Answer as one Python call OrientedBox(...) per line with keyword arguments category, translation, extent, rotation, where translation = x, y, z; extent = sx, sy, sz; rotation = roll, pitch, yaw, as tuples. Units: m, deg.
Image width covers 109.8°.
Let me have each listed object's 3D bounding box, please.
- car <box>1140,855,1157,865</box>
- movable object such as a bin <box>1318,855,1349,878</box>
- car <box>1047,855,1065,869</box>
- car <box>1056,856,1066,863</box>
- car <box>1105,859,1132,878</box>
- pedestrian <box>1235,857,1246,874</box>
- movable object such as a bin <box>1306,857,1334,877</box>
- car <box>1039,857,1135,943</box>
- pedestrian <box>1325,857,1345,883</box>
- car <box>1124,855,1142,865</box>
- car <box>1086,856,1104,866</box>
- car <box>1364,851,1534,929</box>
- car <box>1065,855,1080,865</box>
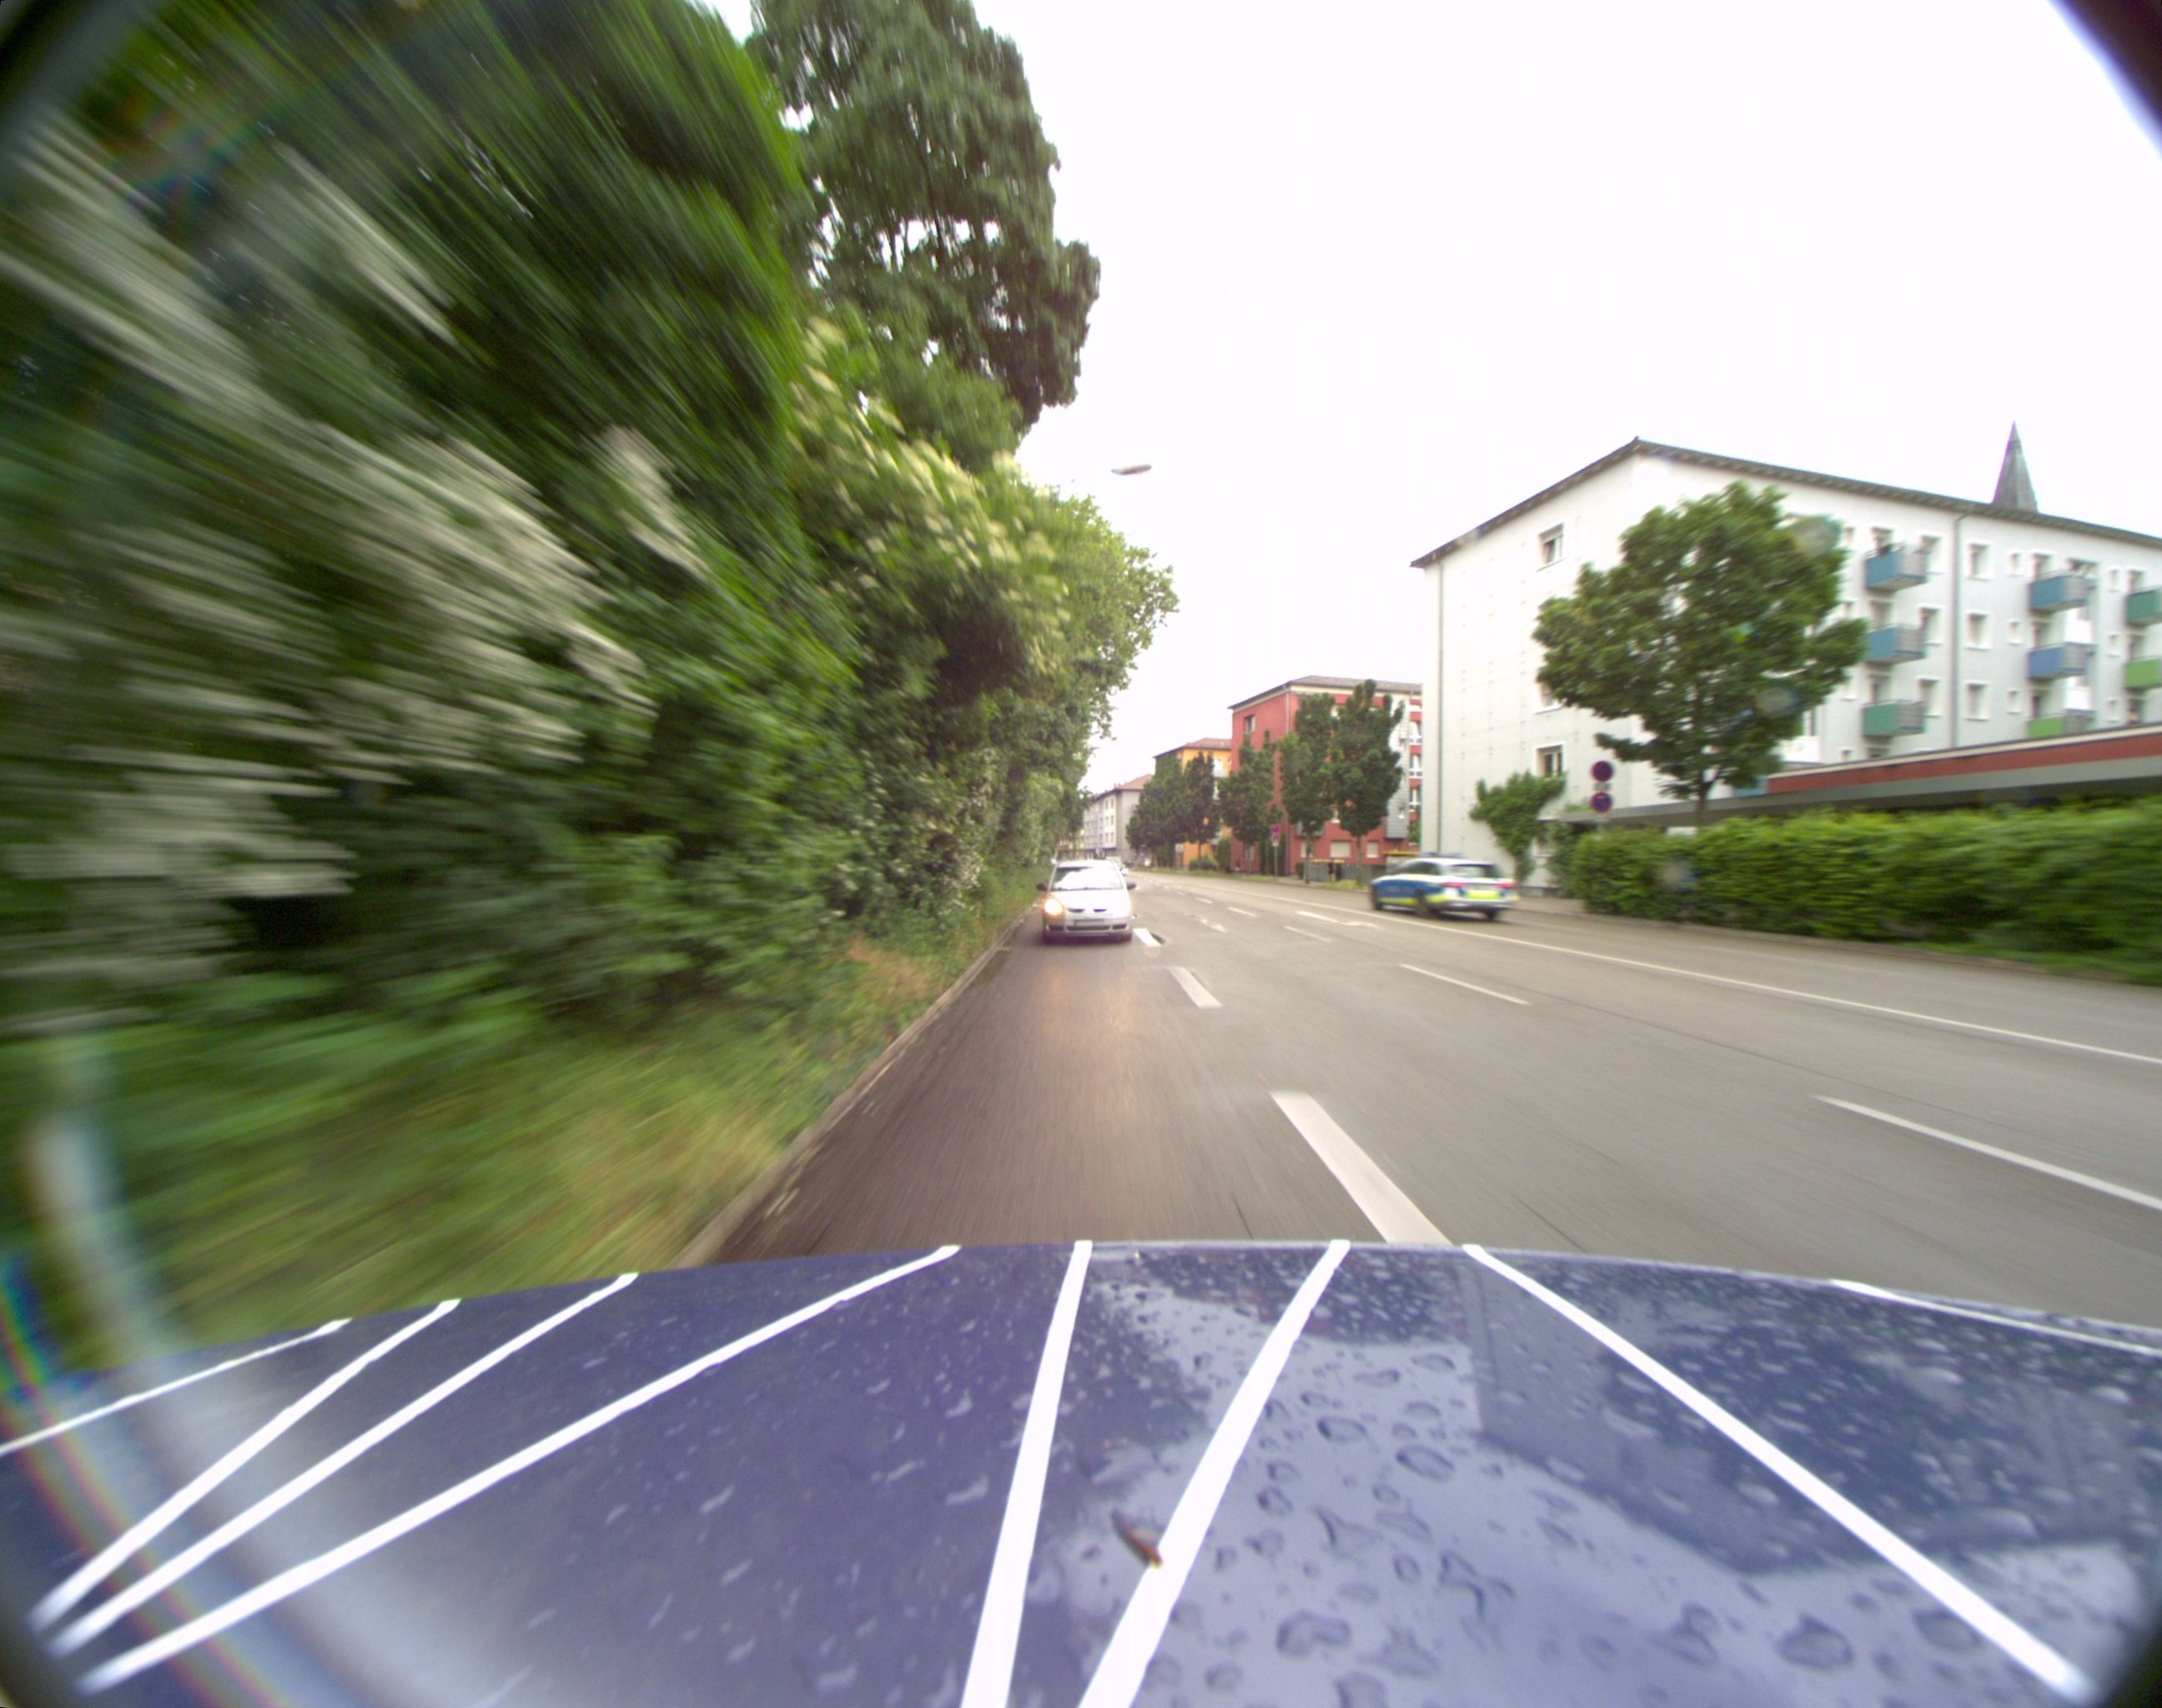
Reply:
OrientedBox(category="car", translation=(11.073, 0.982, 124.367), extent=(1.736, 1.516, 4.224), rotation=(1, 0, -10))
OrientedBox(category="movable object such as a bin", translation=(16.709, 0.842, 50.313), extent=(1.219, 1.476, 2.086), rotation=(0, 0, -6))
OrientedBox(category="car", translation=(-3.619, 1.081, 108.467), extent=(2.000, 1.815, 3.996), rotation=(-2, 1, -10))
OrientedBox(category="car", translation=(-4.364, 1.125, 163.126), extent=(1.549, 1.369, 3.445), rotation=(1, -1, -11))
OrientedBox(category="car", translation=(3.267, 1.283, 66.899), extent=(1.736, 1.590, 3.997), rotation=(0, 0, -6))
OrientedBox(category="pedestrian", translation=(13.589, 0.964, 64.635), extent=(0.673, 1.440, 0.835), rotation=(1, 0, -9))
OrientedBox(category="movable object such as a bin", translation=(16.505, 0.876, 52.480), extent=(1.161, 1.323, 1.965), rotation=(0, 0, -6))
OrientedBox(category="car", translation=(0.144, 0.854, 16.145), extent=(1.755, 1.586, 4.169), rotation=(0, 0, 1))
OrientedBox(category="pedestrian", translation=(14.933, 0.952, 44.754), extent=(0.694, 1.508, 1.069), rotation=(1, 0, -9))
OrientedBox(category="car", translation=(8.490, 0.985, 123.764), extent=(1.857, 1.477, 4.630), rotation=(-2, 1, -10))
OrientedBox(category="car", translation=(2.177, 1.081, 117.653), extent=(1.880, 1.382, 4.623), rotation=(2, 0, -9))
OrientedBox(category="car", translation=(9.144, 0.798, 19.426), extent=(1.998, 1.739, 4.807), rotation=(1, 0, 0))
OrientedBox(category="car", translation=(-1.572, 1.088, 138.701), extent=(1.880, 1.593, 4.460), rotation=(2, 0, -9))
